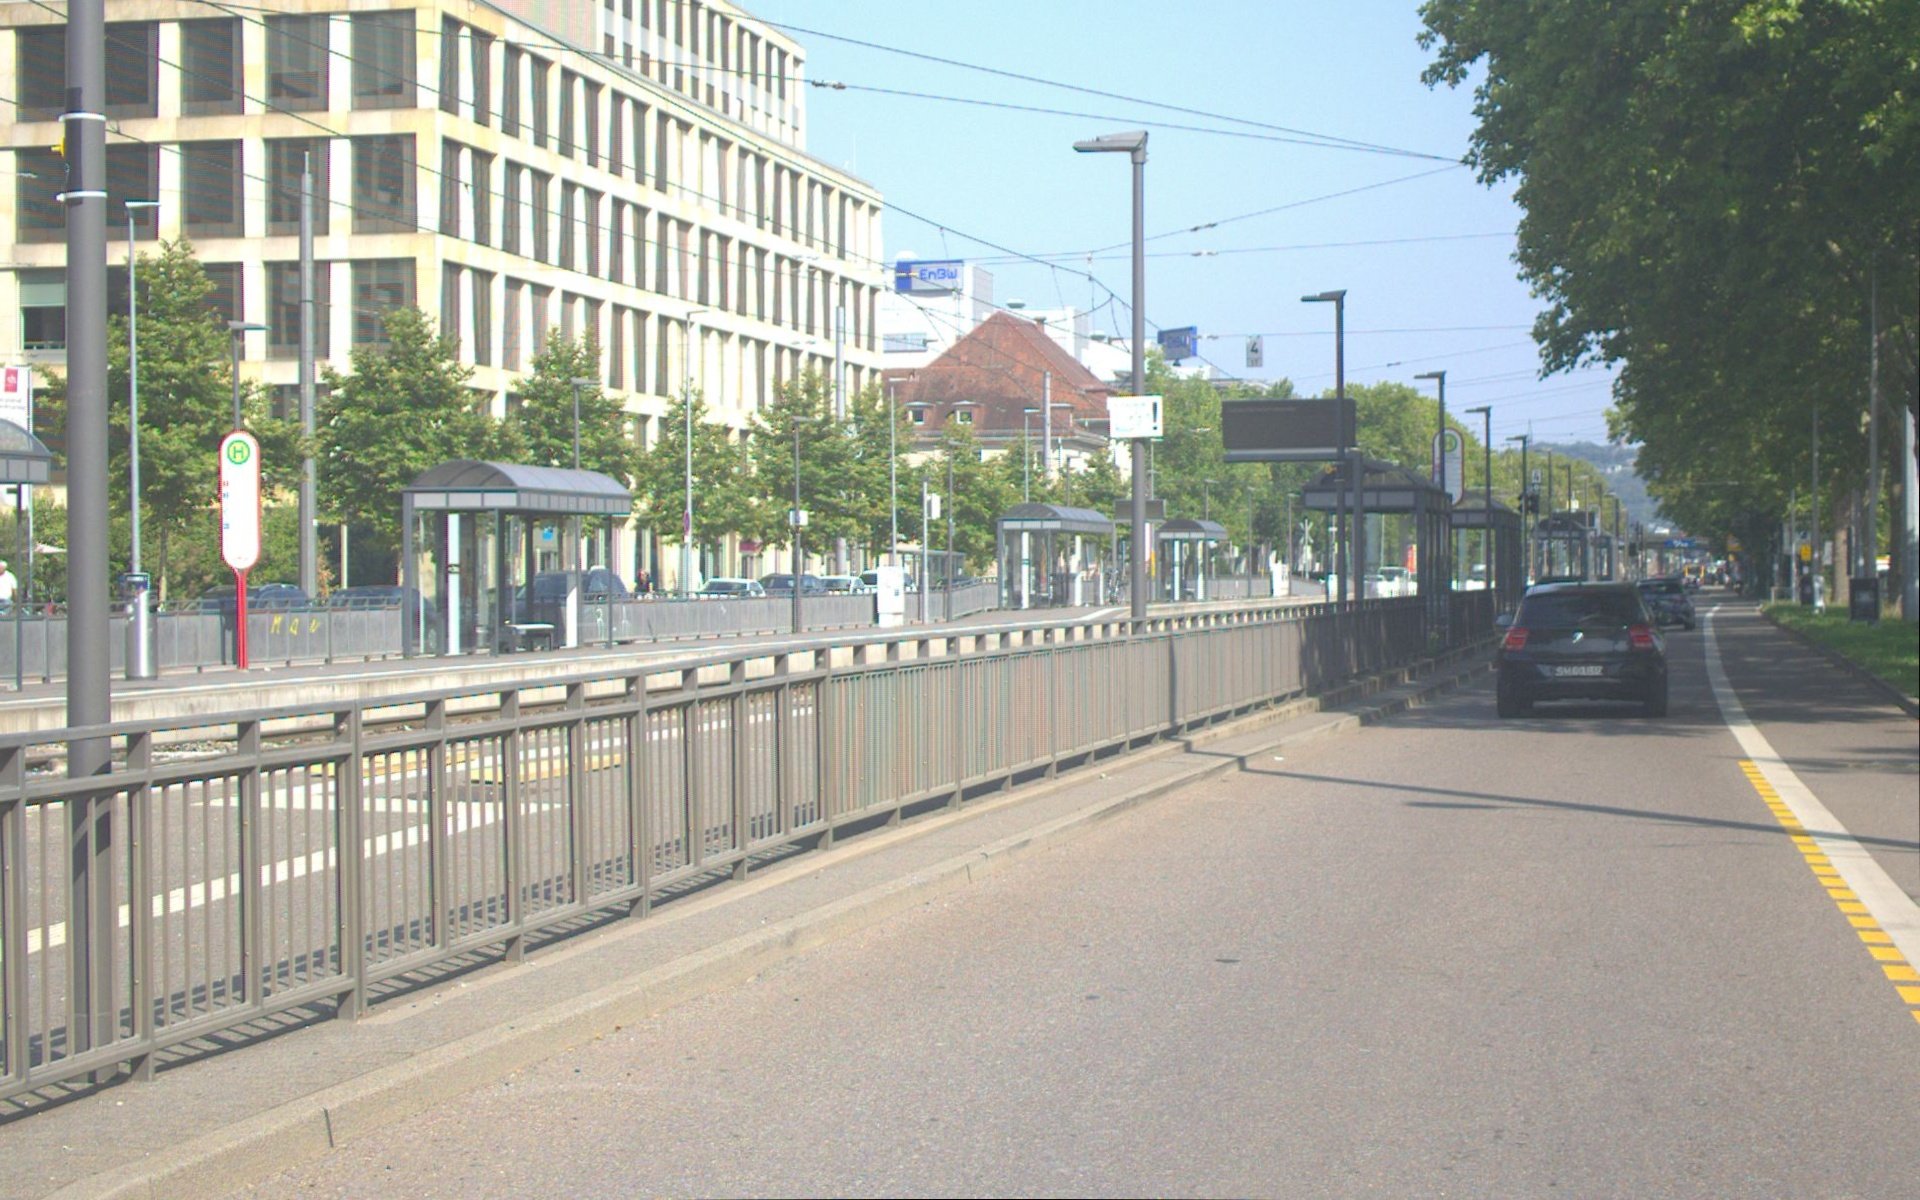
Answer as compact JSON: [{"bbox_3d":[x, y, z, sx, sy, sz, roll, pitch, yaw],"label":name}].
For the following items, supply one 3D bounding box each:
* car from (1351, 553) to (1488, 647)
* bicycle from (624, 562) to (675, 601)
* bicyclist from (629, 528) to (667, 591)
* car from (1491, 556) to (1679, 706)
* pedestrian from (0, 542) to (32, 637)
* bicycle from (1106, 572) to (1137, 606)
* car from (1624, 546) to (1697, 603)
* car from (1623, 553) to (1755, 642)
[{"bbox_3d":[7.982,-0.025,59.456,1.995,1.554,3.998,0,1,13],"label":"car"},{"bbox_3d":[-7.219,-0.425,79.977,0.629,0.819,1.896,-3,-2,12],"label":"bicycle"},{"bbox_3d":[-7.254,-0.942,79.946,0.629,1.398,0.784,-3,-2,12],"label":"bicyclist"},{"bbox_3d":[6.874,0.304,37.561,1.908,1.532,3.998,1,0,12],"label":"car"},{"bbox_3d":[-19.876,-0.209,71.503,0.793,1.911,0.838,-3,-2,6],"label":"pedestrian"},{"bbox_3d":[5.324,-0.360,113.255,0.472,1.143,1.481,0,0,27],"label":"bicycle"},{"bbox_3d":[19.093,-0.705,93.704,1.908,1.532,3.998,0,1,12],"label":"car"},{"bbox_3d":[12.337,-0.060,58.033,1.995,1.436,3.997,0,1,14],"label":"car"}]
